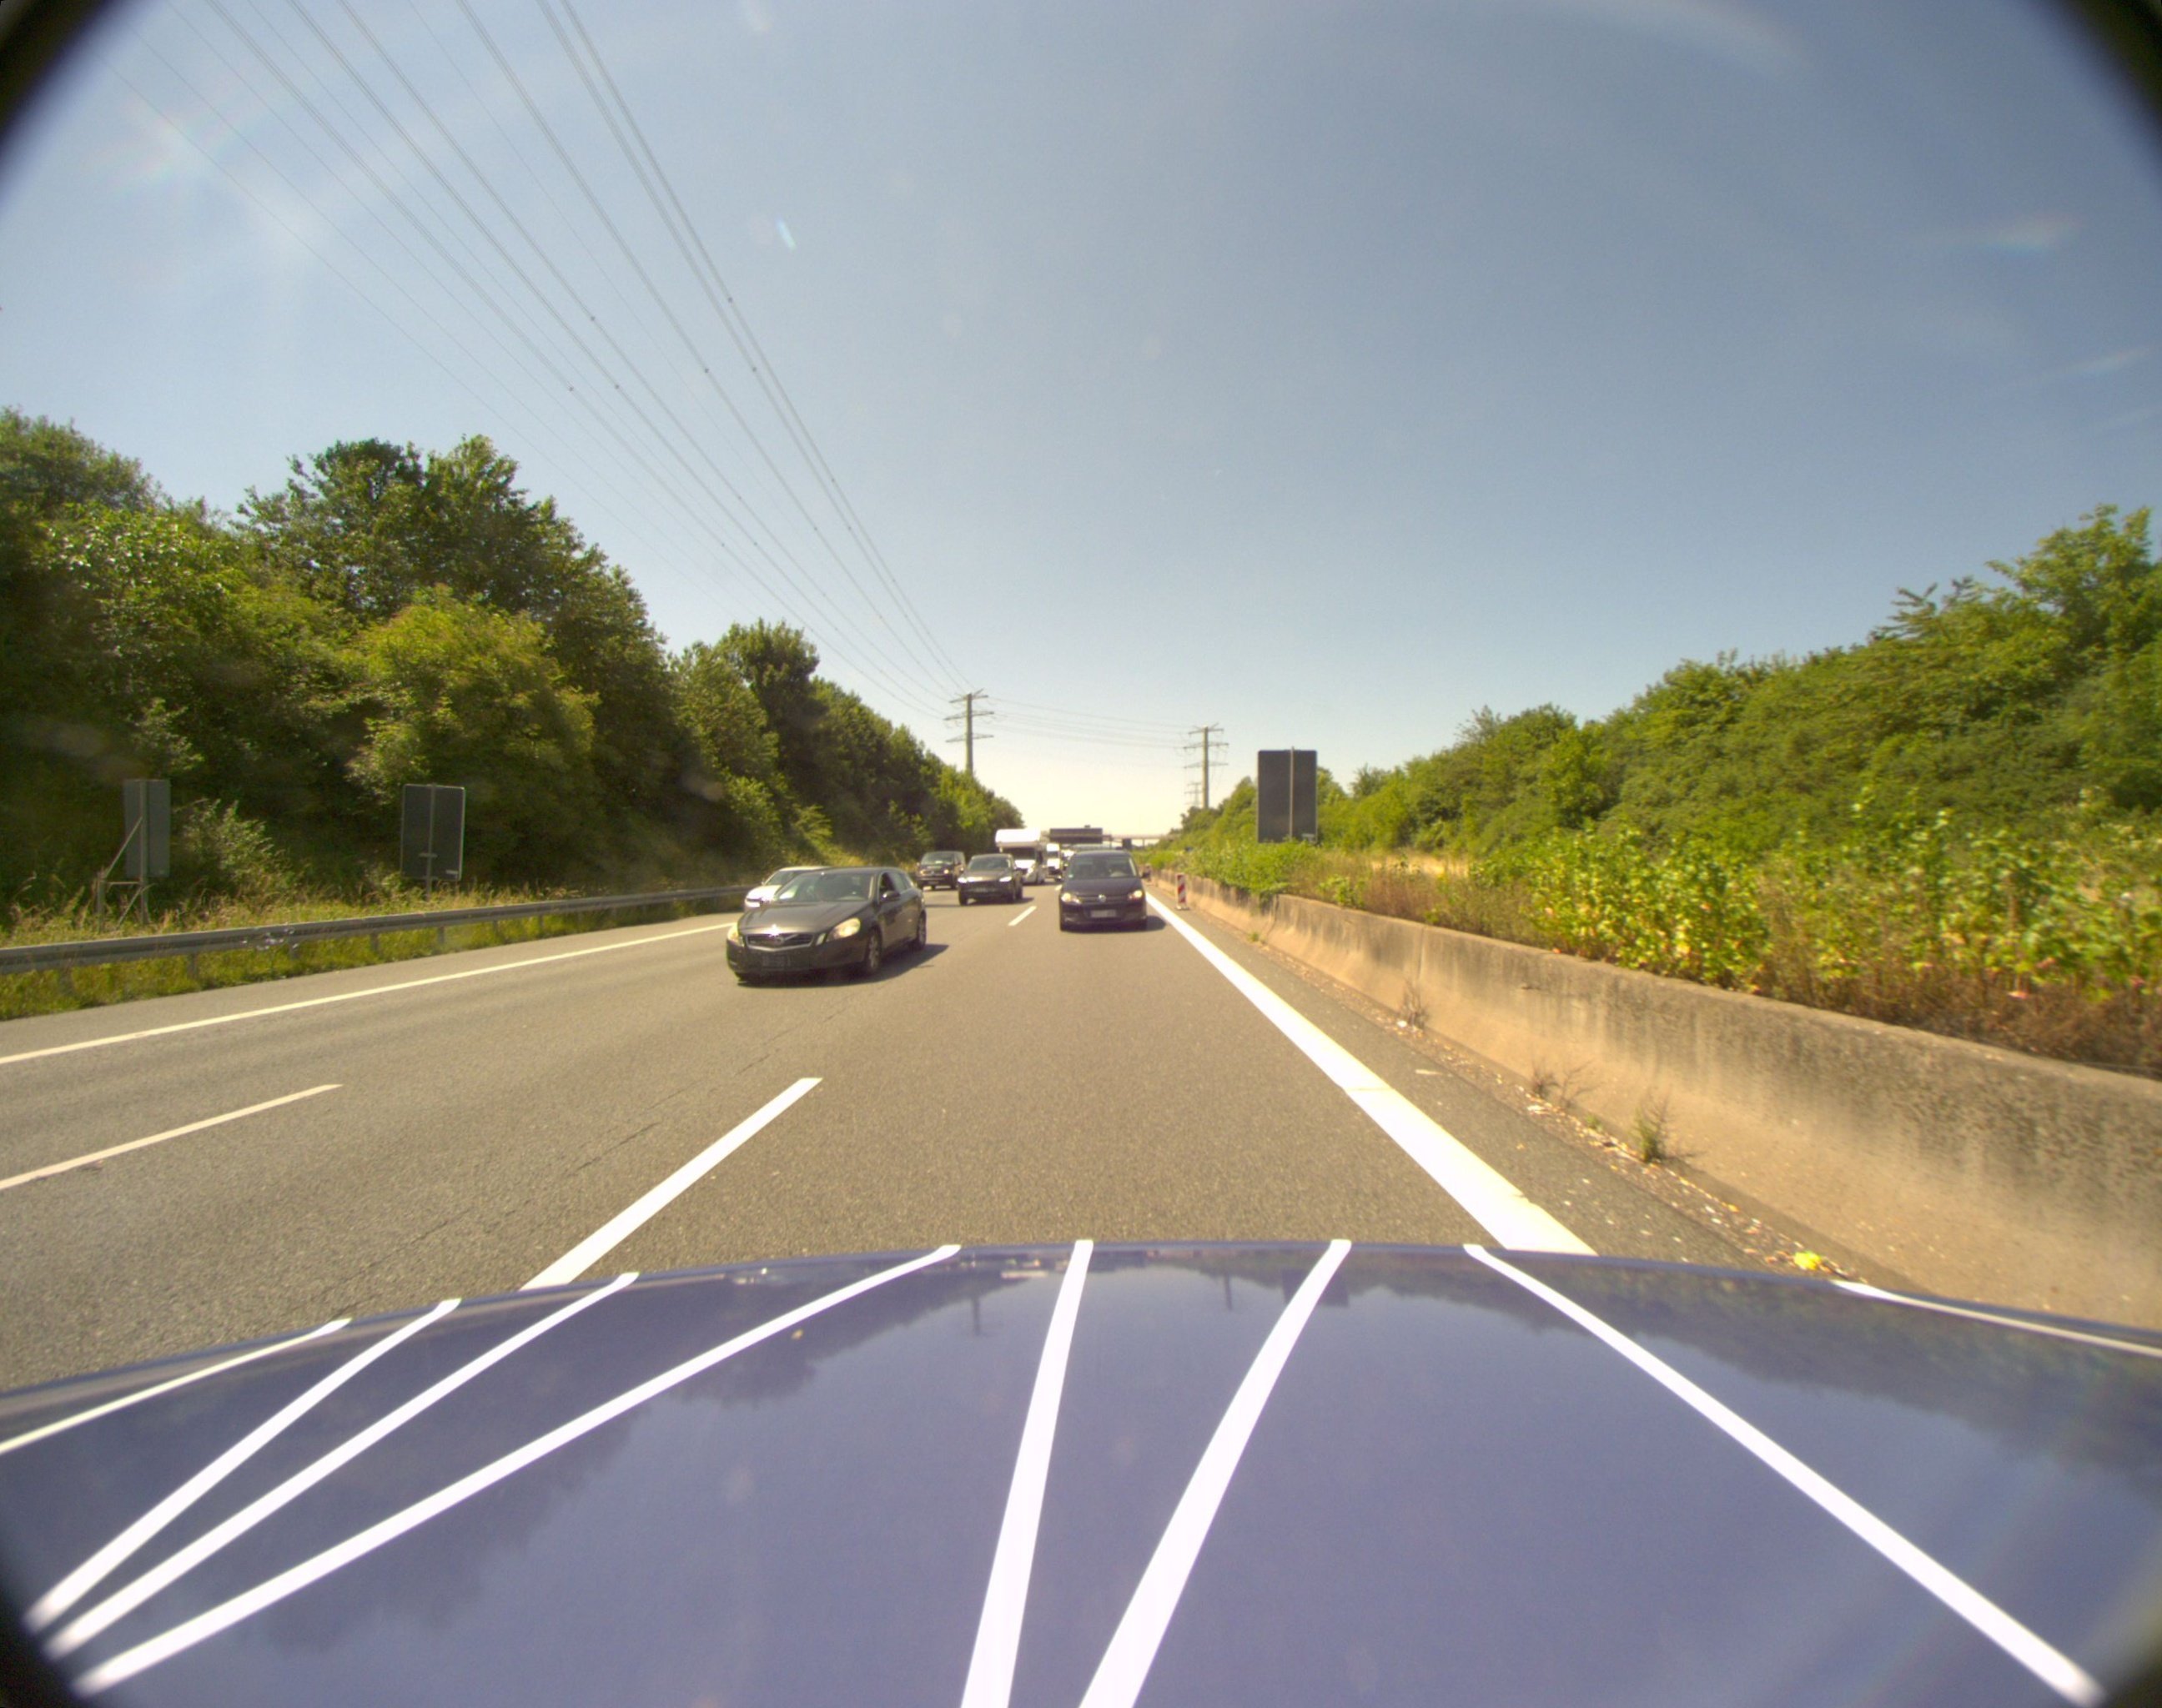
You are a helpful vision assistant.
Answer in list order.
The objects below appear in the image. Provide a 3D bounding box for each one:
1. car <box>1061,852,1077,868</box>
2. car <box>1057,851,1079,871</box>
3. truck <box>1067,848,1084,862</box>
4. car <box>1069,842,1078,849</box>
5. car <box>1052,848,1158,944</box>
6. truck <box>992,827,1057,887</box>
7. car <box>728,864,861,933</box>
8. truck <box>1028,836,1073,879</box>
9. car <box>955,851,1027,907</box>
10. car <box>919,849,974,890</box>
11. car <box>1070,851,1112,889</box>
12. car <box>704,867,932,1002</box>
[{"bbox_3d":[-1.431,0.711,91.948,1.892,1.693,4.383,-2,1,0],"label":"car"},{"bbox_3d":[-1.210,0.623,70.654,1.892,1.693,4.383,-2,1,0],"label":"car"},{"bbox_3d":[-0.925,0.097,125.870,2.408,2.203,6.744,-2,1,3],"label":"truck"},{"bbox_3d":[-2.029,-2.328,206.104,1.998,2.002,4.000,-2,1,2],"label":"car"},{"bbox_3d":[0.450,0.753,16.203,1.892,1.693,4.383,-2,1,0],"label":"car"},{"bbox_3d":[-3.075,0.086,44.302,2.514,2.997,9.898,-2,1,3],"label":"truck"},{"bbox_3d":[-7.215,1.067,19.615,1.745,1.461,4.014,-2,0,2],"label":"car"},{"bbox_3d":[-2.183,0.203,58.739,2.514,2.997,9.898,-2,1,3],"label":"truck"},{"bbox_3d":[-3.046,0.793,26.616,1.892,1.693,4.383,-2,1,0],"label":"car"},{"bbox_3d":[-6.793,0.738,38.951,1.788,1.893,4.698,-2,1,1],"label":"car"},{"bbox_3d":[0.484,0.725,37.352,1.892,1.693,4.383,-2,1,0],"label":"car"},{"bbox_3d":[-3.549,0.998,11.180,1.800,1.429,4.230,-2,1,0],"label":"car"}]
